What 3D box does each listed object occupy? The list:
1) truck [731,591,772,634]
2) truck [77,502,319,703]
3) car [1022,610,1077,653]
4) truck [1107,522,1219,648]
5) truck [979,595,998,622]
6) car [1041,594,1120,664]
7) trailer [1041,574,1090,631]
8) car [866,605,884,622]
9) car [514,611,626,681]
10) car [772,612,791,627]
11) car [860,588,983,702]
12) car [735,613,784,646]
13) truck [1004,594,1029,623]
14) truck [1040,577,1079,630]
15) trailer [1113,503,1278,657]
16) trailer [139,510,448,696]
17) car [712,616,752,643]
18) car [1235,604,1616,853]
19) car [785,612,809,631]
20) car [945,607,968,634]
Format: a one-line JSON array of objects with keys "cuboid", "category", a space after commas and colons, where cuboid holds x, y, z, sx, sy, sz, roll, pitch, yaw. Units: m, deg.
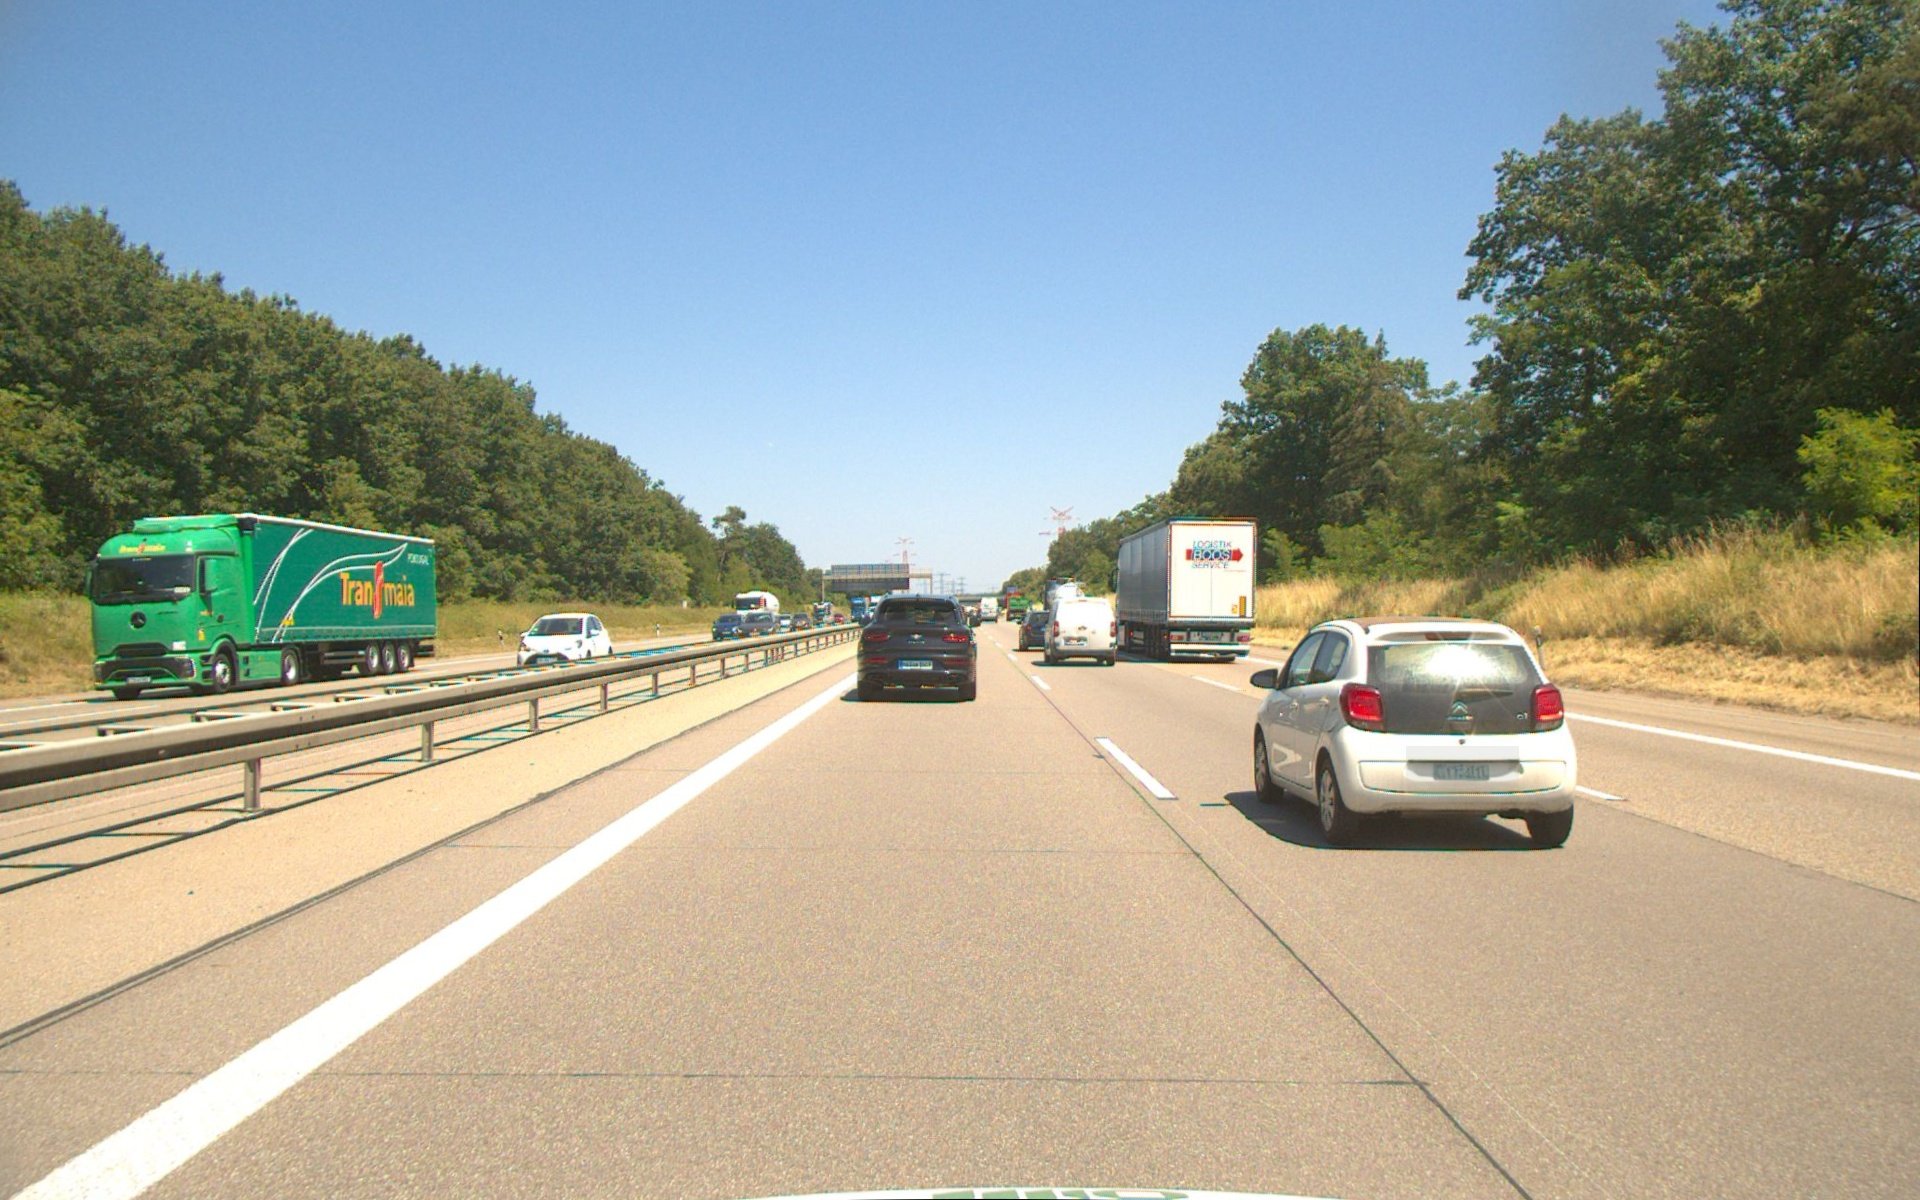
[{"cuboid": [-17.811, 1.026, 141.620, 2.628, 3.494, 6.144, -2, 0, 0], "category": "truck"}, {"cuboid": [-17.844, 0.070, 39.214, 2.645, 4.233, 6.296, -3, 0, 0], "category": "truck"}, {"cuboid": [3.212, 1.139, 60.112, 1.738, 1.498, 3.872, 0, -1, -1], "category": "car"}, {"cuboid": [7.253, -0.477, 59.933, 3.219, 4.293, 6.006, 1, -1, -1], "category": "truck"}, {"cuboid": [3.199, 0.964, 188.534, 2.018, 2.965, 7.002, 0, -1, -1], "category": "truck"}, {"cuboid": [3.314, 0.785, 46.164, 1.777, 1.859, 5.109, 0, -1, -1], "category": "car"}, {"cuboid": [7.552, 0.230, 119.737, 2.628, 3.904, 12.008, 1, -1, 0], "category": "trailer"}, {"cuboid": [-10.562, 1.630, 205.008, 1.955, 1.981, 5.741, -2, 0, -1], "category": "car"}, {"cuboid": [-9.599, 1.095, 41.003, 1.622, 1.526, 4.599, -3, 0, 0], "category": "car"}, {"cuboid": [-18.476, 2.029, 171.332, 1.537, 1.490, 4.034, -2, 0, -1], "category": "car"}, {"cuboid": [-0.644, 0.688, 28.742, 1.901, 1.783, 5.812, 0, 0, -1], "category": "car"}, {"cuboid": [-9.590, 1.406, 79.464, 1.674, 1.435, 5.083, -3, 0, 0], "category": "car"}, {"cuboid": [7.705, 1.134, 225.004, 2.928, 3.794, 10.087, 1, -1, -1], "category": "truck"}, {"cuboid": [7.508, 0.254, 125.458, 2.628, 3.904, 4.443, 1, -1, -1], "category": "truck"}, {"cuboid": [7.271, -0.496, 53.363, 3.219, 4.293, 13.562, 1, -1, 0], "category": "trailer"}, {"cuboid": [-17.868, 0.104, 46.004, 2.650, 4.233, 14.336, -3, 0, 0], "category": "trailer"}, {"cuboid": [-13.700, 1.754, 99.640, 1.640, 1.468, 5.135, -2, 0, 0], "category": "car"}, {"cuboid": [3.209, 0.800, 12.213, 1.673, 1.521, 4.023, 0, 0, 0], "category": "car"}, {"cuboid": [-13.877, 1.802, 141.011, 1.599, 1.499, 3.936, -2, 0, 0], "category": "car"}, {"cuboid": [-0.238, 1.421, 114.733, 1.593, 1.785, 3.804, 0, 0, 0], "category": "car"}]
